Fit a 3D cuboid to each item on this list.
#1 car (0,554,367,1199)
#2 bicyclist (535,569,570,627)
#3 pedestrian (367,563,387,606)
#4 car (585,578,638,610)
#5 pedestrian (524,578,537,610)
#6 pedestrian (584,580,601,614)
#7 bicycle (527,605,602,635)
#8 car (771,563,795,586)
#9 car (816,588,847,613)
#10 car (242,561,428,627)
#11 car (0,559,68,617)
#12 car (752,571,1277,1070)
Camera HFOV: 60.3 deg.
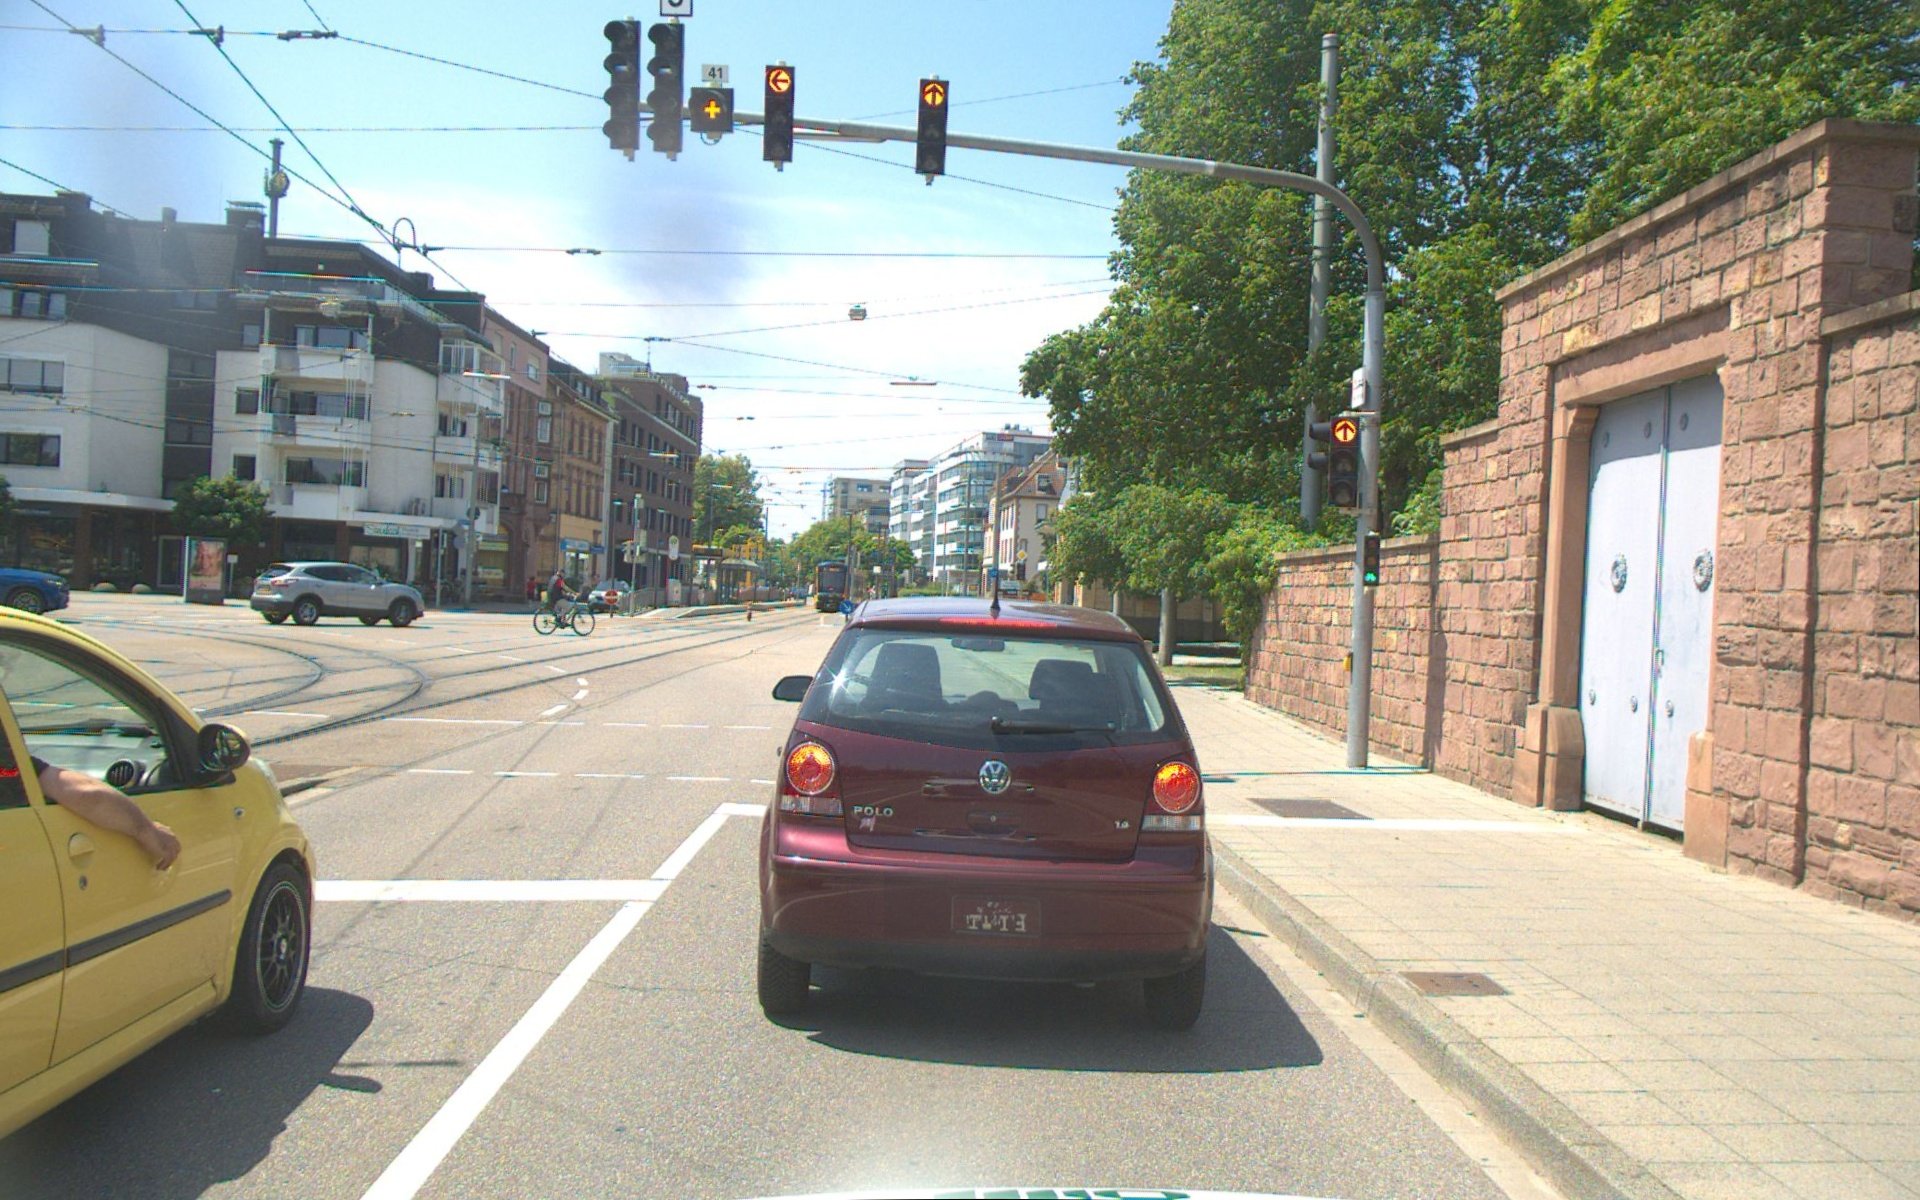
[{"bbox_3d":[-2.925,0.620,4.237,1.688,1.470,3.292,0,1,-2],"label":"car"},{"bbox_3d":[-11.020,-0.048,44.720,0.745,1.527,0.475,2,-1,-41],"label":"bicyclist"},{"bbox_3d":[-24.341,-0.656,69.047,0.497,1.785,0.606,0,-1,45],"label":"pedestrian"},{"bbox_3d":[-17.143,-0.301,81.476,1.654,1.488,4.000,2,0,0],"label":"car"},{"bbox_3d":[-21.431,-0.280,82.491,0.473,1.568,0.538,1,-1,2],"label":"pedestrian"},{"bbox_3d":[-19.968,-0.168,89.891,0.648,1.818,0.815,2,0,-1],"label":"pedestrian"},{"bbox_3d":[-10.738,0.555,44.955,1.969,0.797,0.459,2,-1,-41],"label":"bicycle"},{"bbox_3d":[-16.383,-2.377,153.147,1.700,2.049,3.999,2,0,-1],"label":"car"},{"bbox_3d":[-8.991,0.071,115.806,1.899,1.670,3.998,1,-1,-2],"label":"car"},{"bbox_3d":[-16.107,-0.125,42.784,1.902,1.612,4.132,0,-1,38],"label":"car"},{"bbox_3d":[-22.689,-0.297,37.040,4.713,1.258,1.922,1,-1,-28],"label":"car"},{"bbox_3d":[0.104,0.682,7.178,1.578,1.489,4.084,2,0,-2],"label":"car"}]
